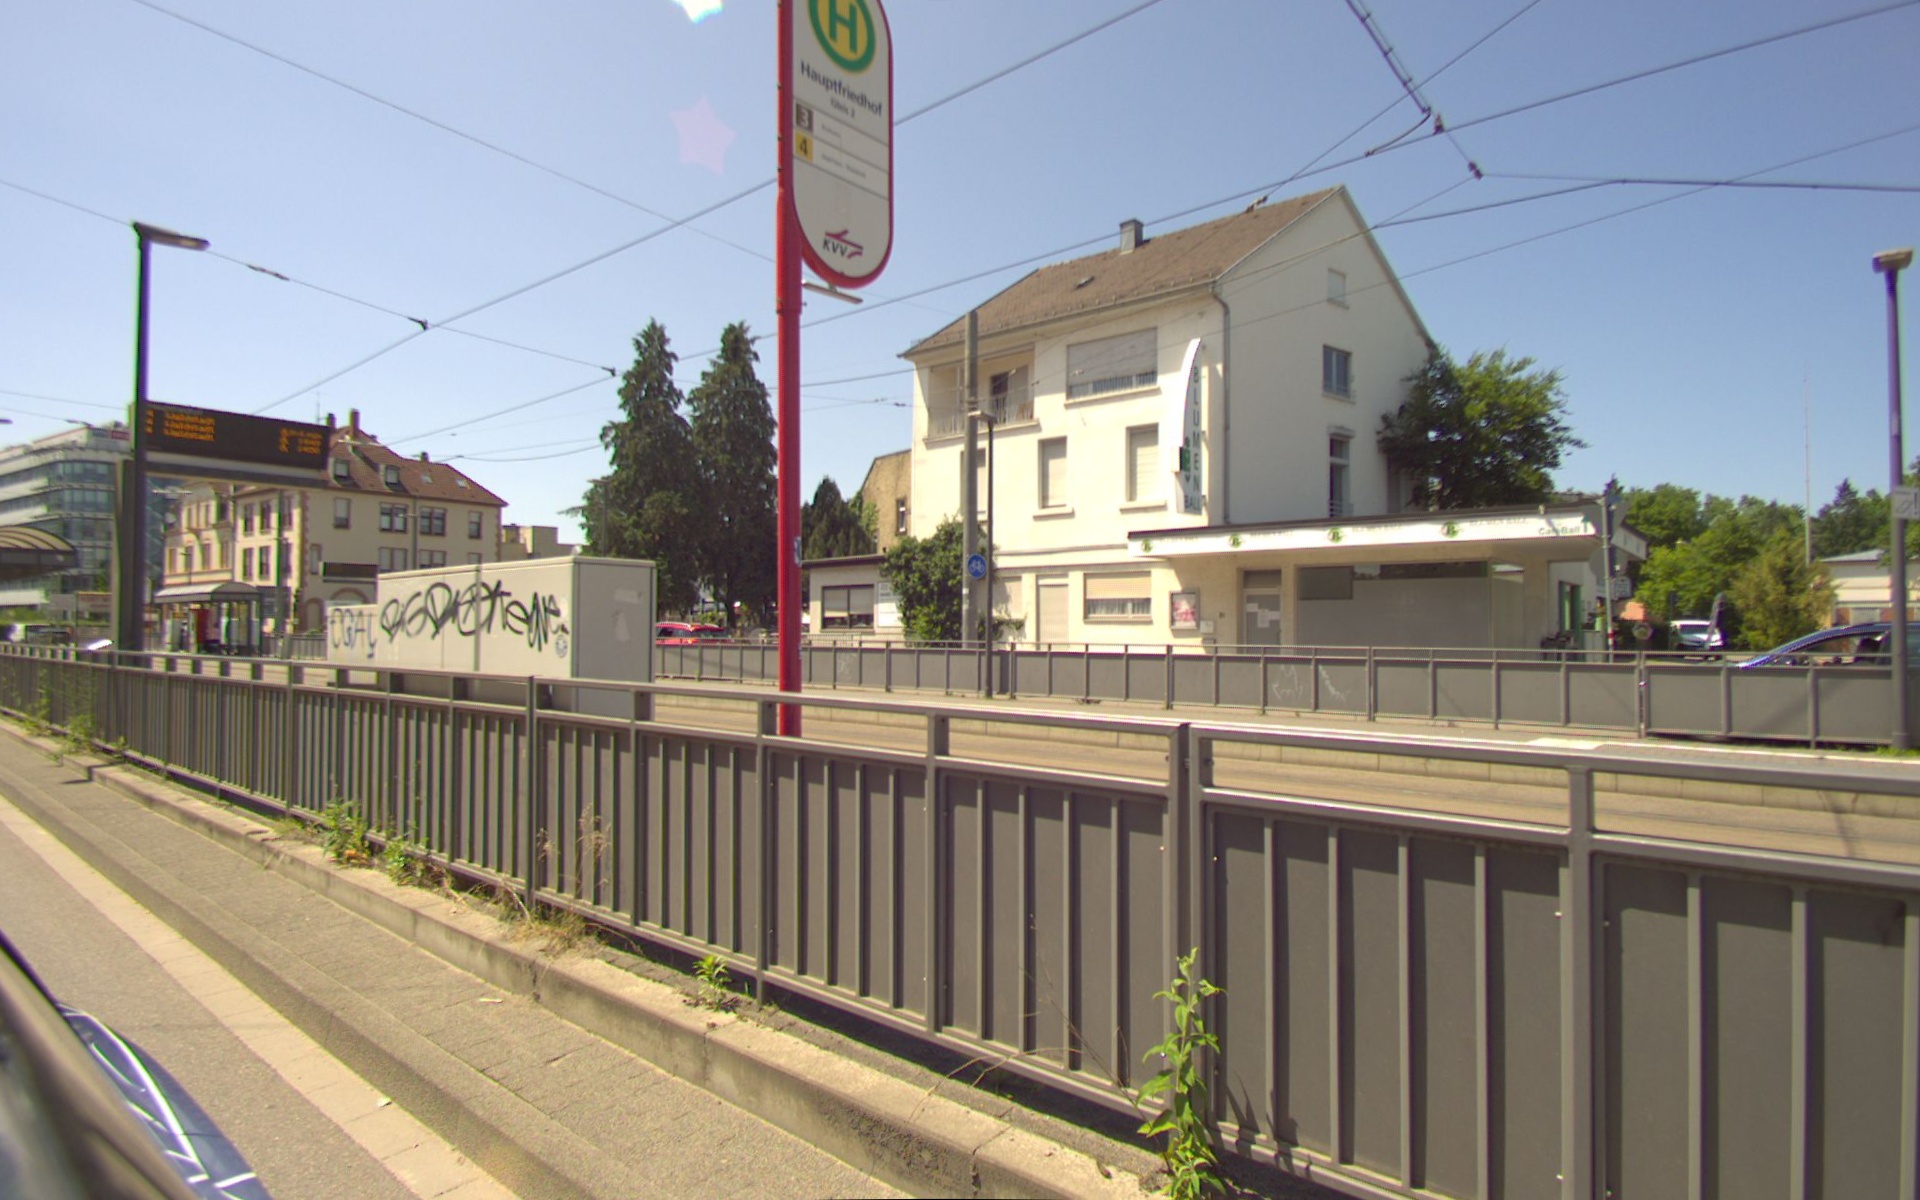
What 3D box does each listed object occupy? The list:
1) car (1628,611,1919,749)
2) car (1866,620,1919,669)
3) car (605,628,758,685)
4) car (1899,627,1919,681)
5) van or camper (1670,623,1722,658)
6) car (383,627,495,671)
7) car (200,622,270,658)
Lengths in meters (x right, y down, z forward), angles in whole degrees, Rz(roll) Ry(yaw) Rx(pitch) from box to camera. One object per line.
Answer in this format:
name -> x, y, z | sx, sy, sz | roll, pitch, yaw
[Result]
car -> 10.471, 0.869, 11.618 | 4.476, 1.453, 1.837 | -2, -2, 41
car -> 29.493, 1.403, 31.650 | 1.644, 1.457, 3.761 | -2, -3, 41
car -> -7.506, 1.480, 27.139 | 4.169, 1.406, 1.801 | -1, -3, 38
car -> 25.866, 1.425, 26.571 | 1.644, 1.381, 3.760 | -2, -3, 42
van or camper -> 34.761, 1.893, 47.875 | 1.686, 1.578, 3.784 | -1, -2, 32
car -> -18.885, 1.739, 36.582 | 4.616, 1.479, 1.800 | -1, -3, 38
car -> -38.054, 2.100, 53.082 | 4.694, 1.830, 1.837 | -1, -3, 40
